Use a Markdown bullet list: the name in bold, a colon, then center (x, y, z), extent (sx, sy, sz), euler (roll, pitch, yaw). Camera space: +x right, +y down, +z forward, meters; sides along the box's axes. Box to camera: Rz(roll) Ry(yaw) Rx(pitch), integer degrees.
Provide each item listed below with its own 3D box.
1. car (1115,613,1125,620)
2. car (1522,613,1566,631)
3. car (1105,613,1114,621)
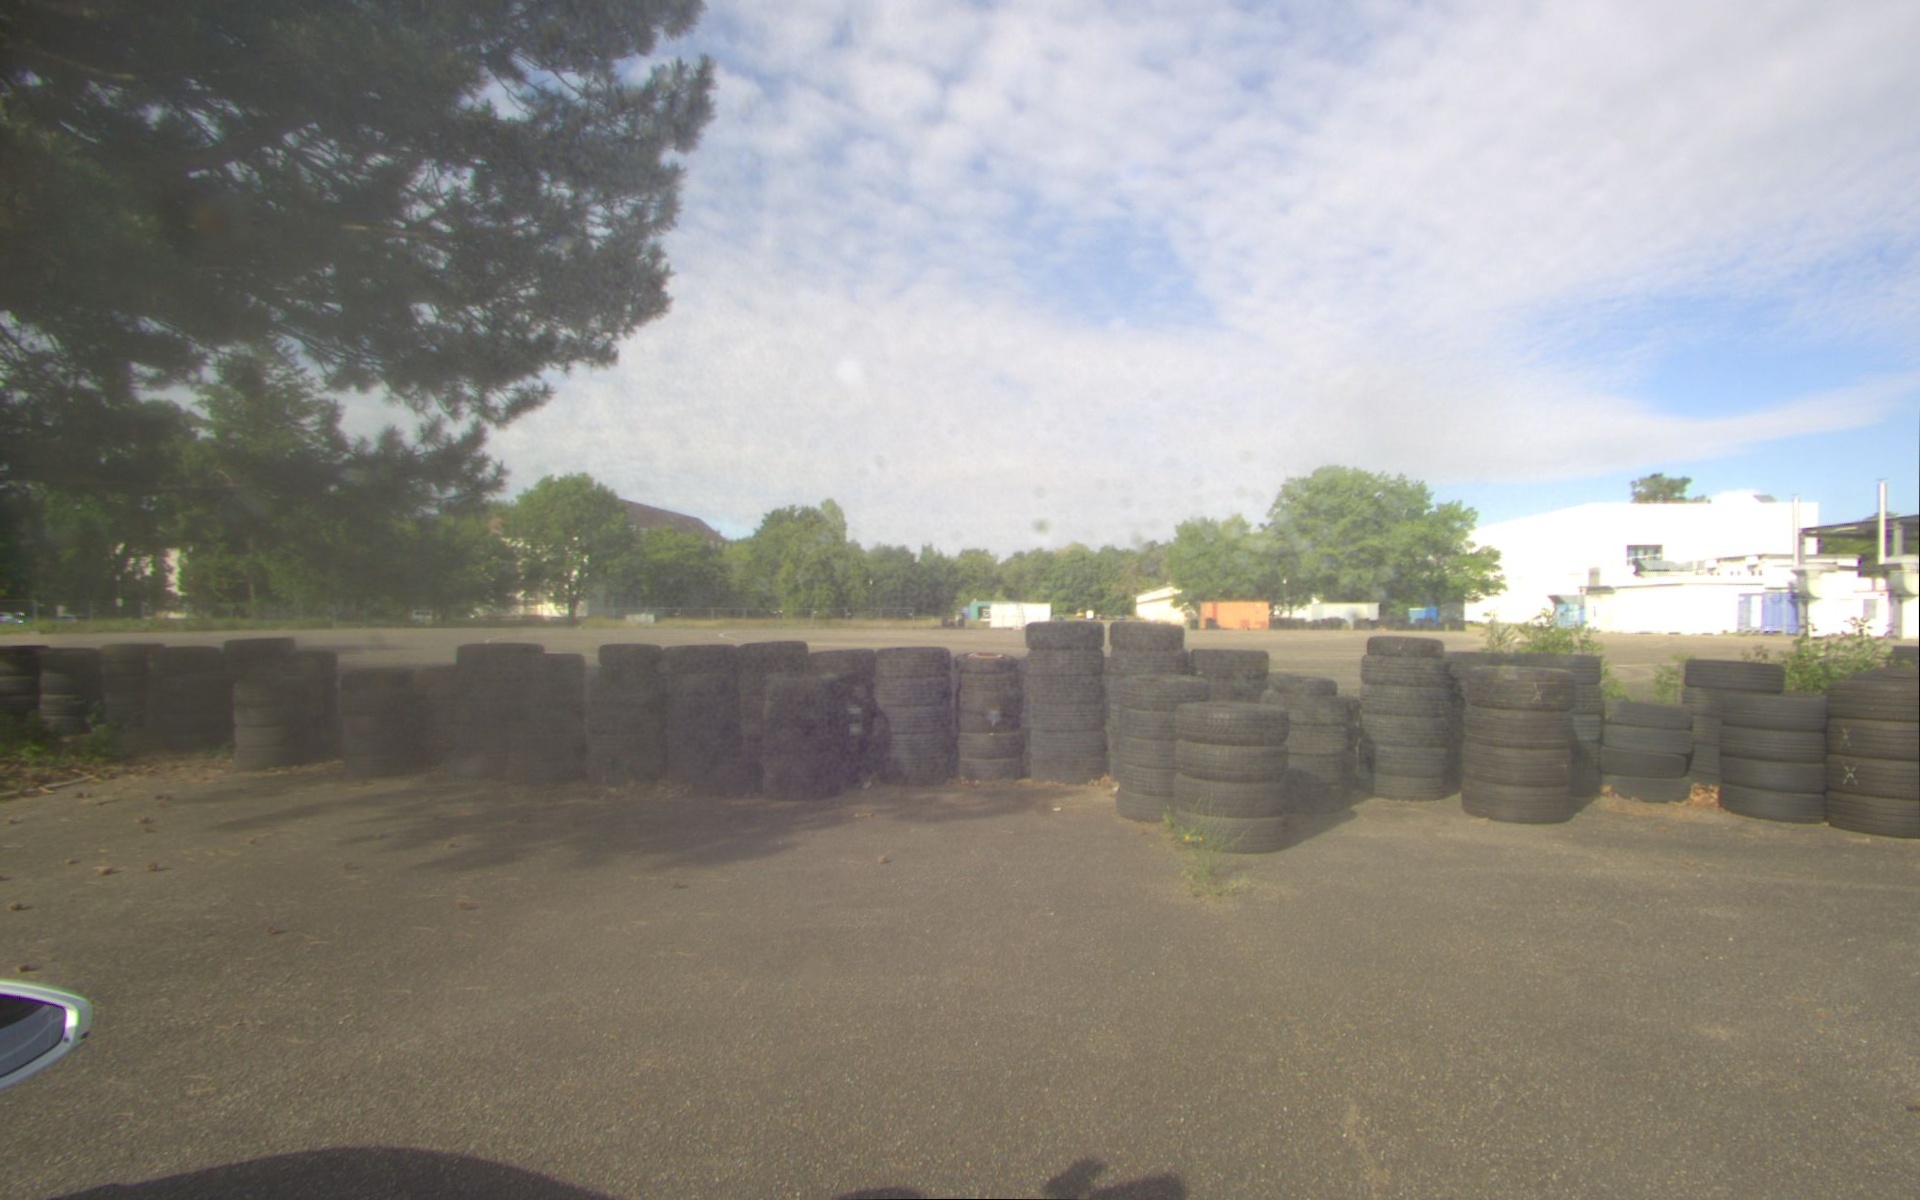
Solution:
- **car**: center (38.980, 4.038, 244.432), extent (1.961, 1.773, 4.000), euler (0, -1, 4)
- **car**: center (55.770, 2.088, 95.750), extent (1.838, 1.585, 4.548), euler (0, -1, 4)
- **car**: center (36.497, 4.126, 244.713), extent (1.998, 1.832, 4.000), euler (0, 0, 4)
